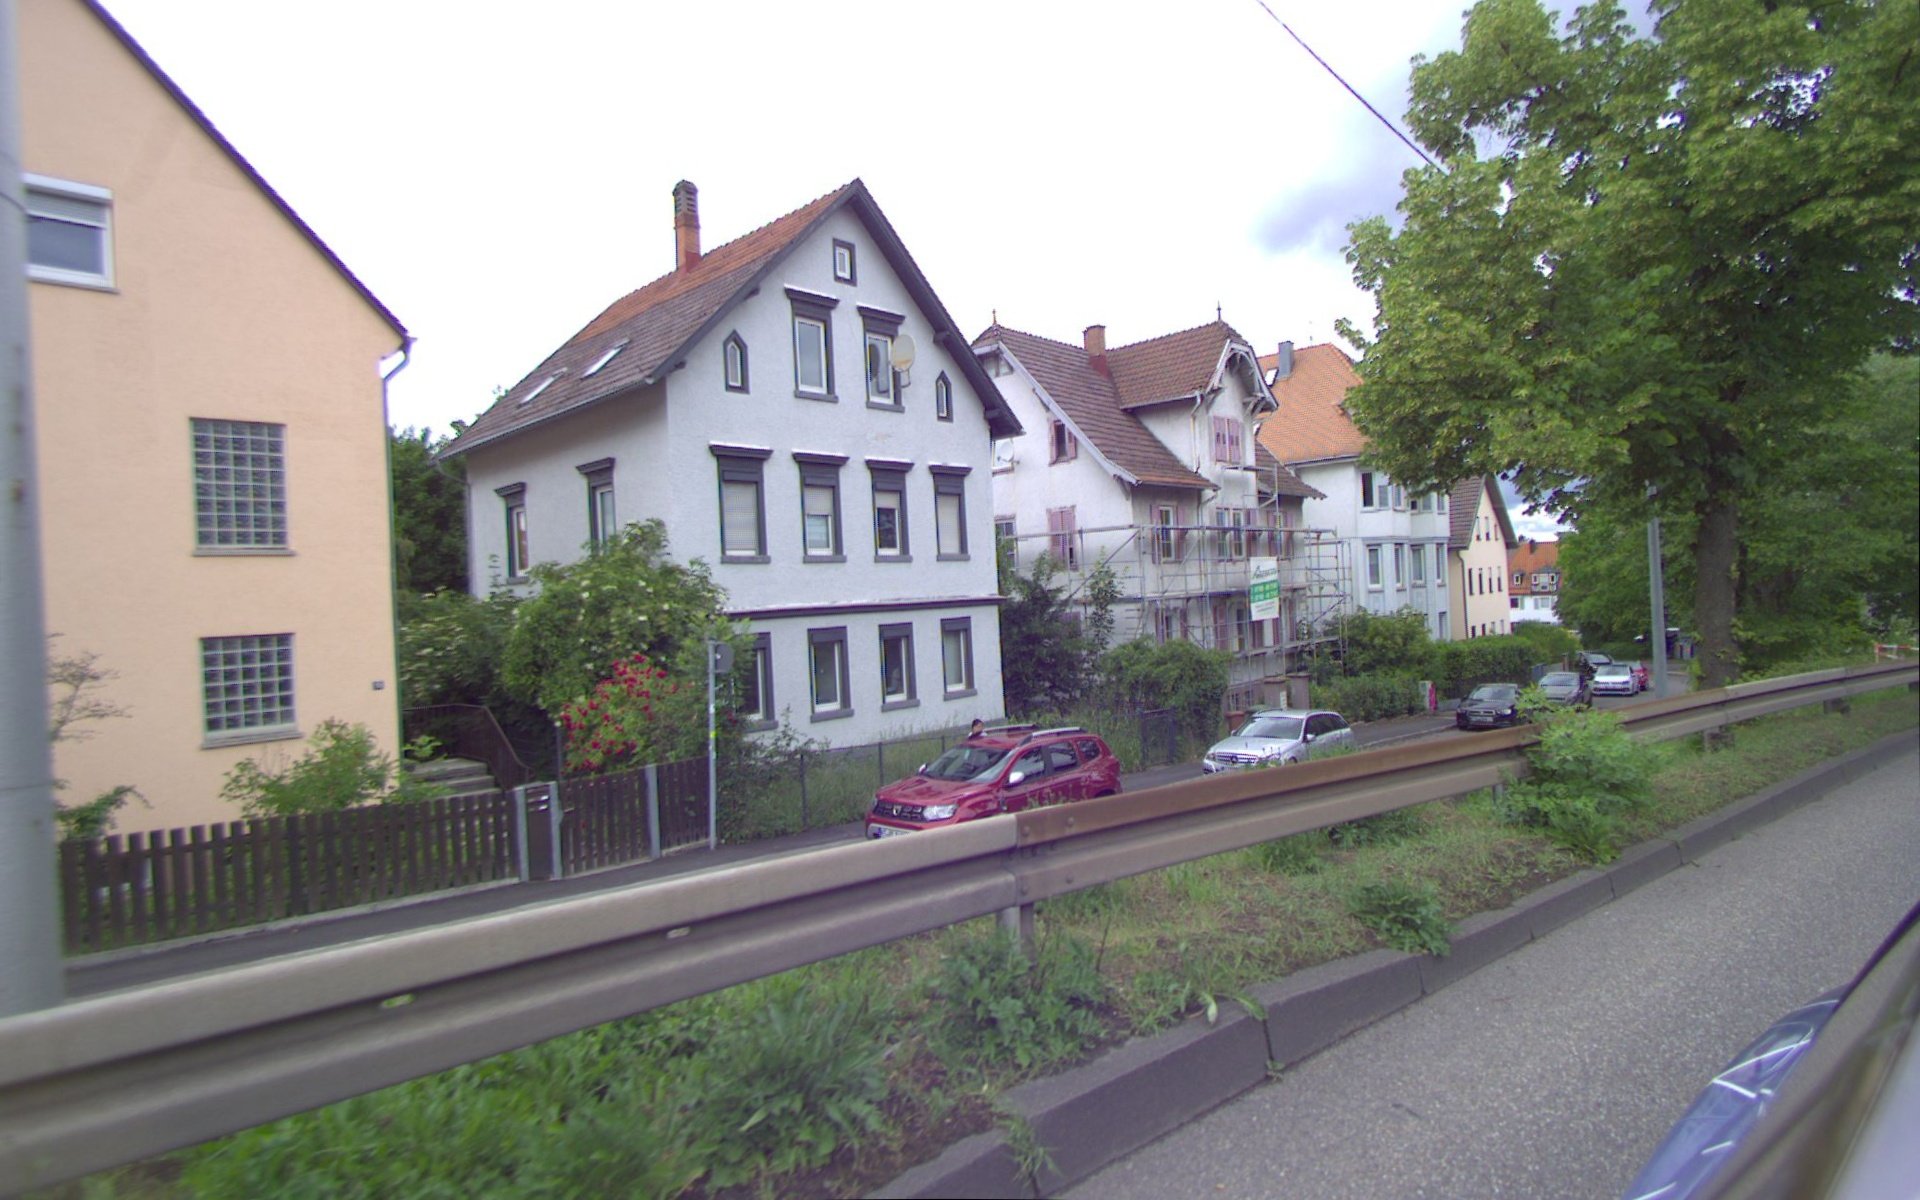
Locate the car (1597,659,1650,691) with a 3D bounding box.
[{"bbox_3d":[31.942,3.578,48.661,1.643,1.413,3.714,-3,-3,40],"label":"car"}]

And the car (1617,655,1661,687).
[{"bbox_3d":[35.473,3.677,52.830,1.615,1.541,4.245,-3,-3,37],"label":"car"}]

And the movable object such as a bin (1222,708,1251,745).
[{"bbox_3d":[7.379,3.365,27.026,0.570,0.894,0.537,0,0,-41],"label":"movable object such as a bin"}]

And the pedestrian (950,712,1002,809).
[{"bbox_3d":[0.266,2.638,16.789,0.618,1.500,0.580,-4,-4,45],"label":"pedestrian"}]

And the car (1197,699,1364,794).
[{"bbox_3d":[6.705,2.926,20.894,1.617,1.460,4.364,-3,-3,42],"label":"car"}]

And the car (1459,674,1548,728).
[{"bbox_3d":[17.664,3.224,32.816,1.617,1.467,3.995,-3,-3,42],"label":"car"}]

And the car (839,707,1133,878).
[{"bbox_3d":[0.484,2.512,14.162,1.781,1.692,4.135,-4,-3,44],"label":"car"}]

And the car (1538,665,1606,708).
[{"bbox_3d":[24.101,3.357,39.810,1.616,1.467,3.970,-3,-3,40],"label":"car"}]

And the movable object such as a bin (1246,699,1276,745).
[{"bbox_3d":[7.951,3.214,26.718,0.529,1.092,0.579,0,0,-41],"label":"movable object such as a bin"}]
